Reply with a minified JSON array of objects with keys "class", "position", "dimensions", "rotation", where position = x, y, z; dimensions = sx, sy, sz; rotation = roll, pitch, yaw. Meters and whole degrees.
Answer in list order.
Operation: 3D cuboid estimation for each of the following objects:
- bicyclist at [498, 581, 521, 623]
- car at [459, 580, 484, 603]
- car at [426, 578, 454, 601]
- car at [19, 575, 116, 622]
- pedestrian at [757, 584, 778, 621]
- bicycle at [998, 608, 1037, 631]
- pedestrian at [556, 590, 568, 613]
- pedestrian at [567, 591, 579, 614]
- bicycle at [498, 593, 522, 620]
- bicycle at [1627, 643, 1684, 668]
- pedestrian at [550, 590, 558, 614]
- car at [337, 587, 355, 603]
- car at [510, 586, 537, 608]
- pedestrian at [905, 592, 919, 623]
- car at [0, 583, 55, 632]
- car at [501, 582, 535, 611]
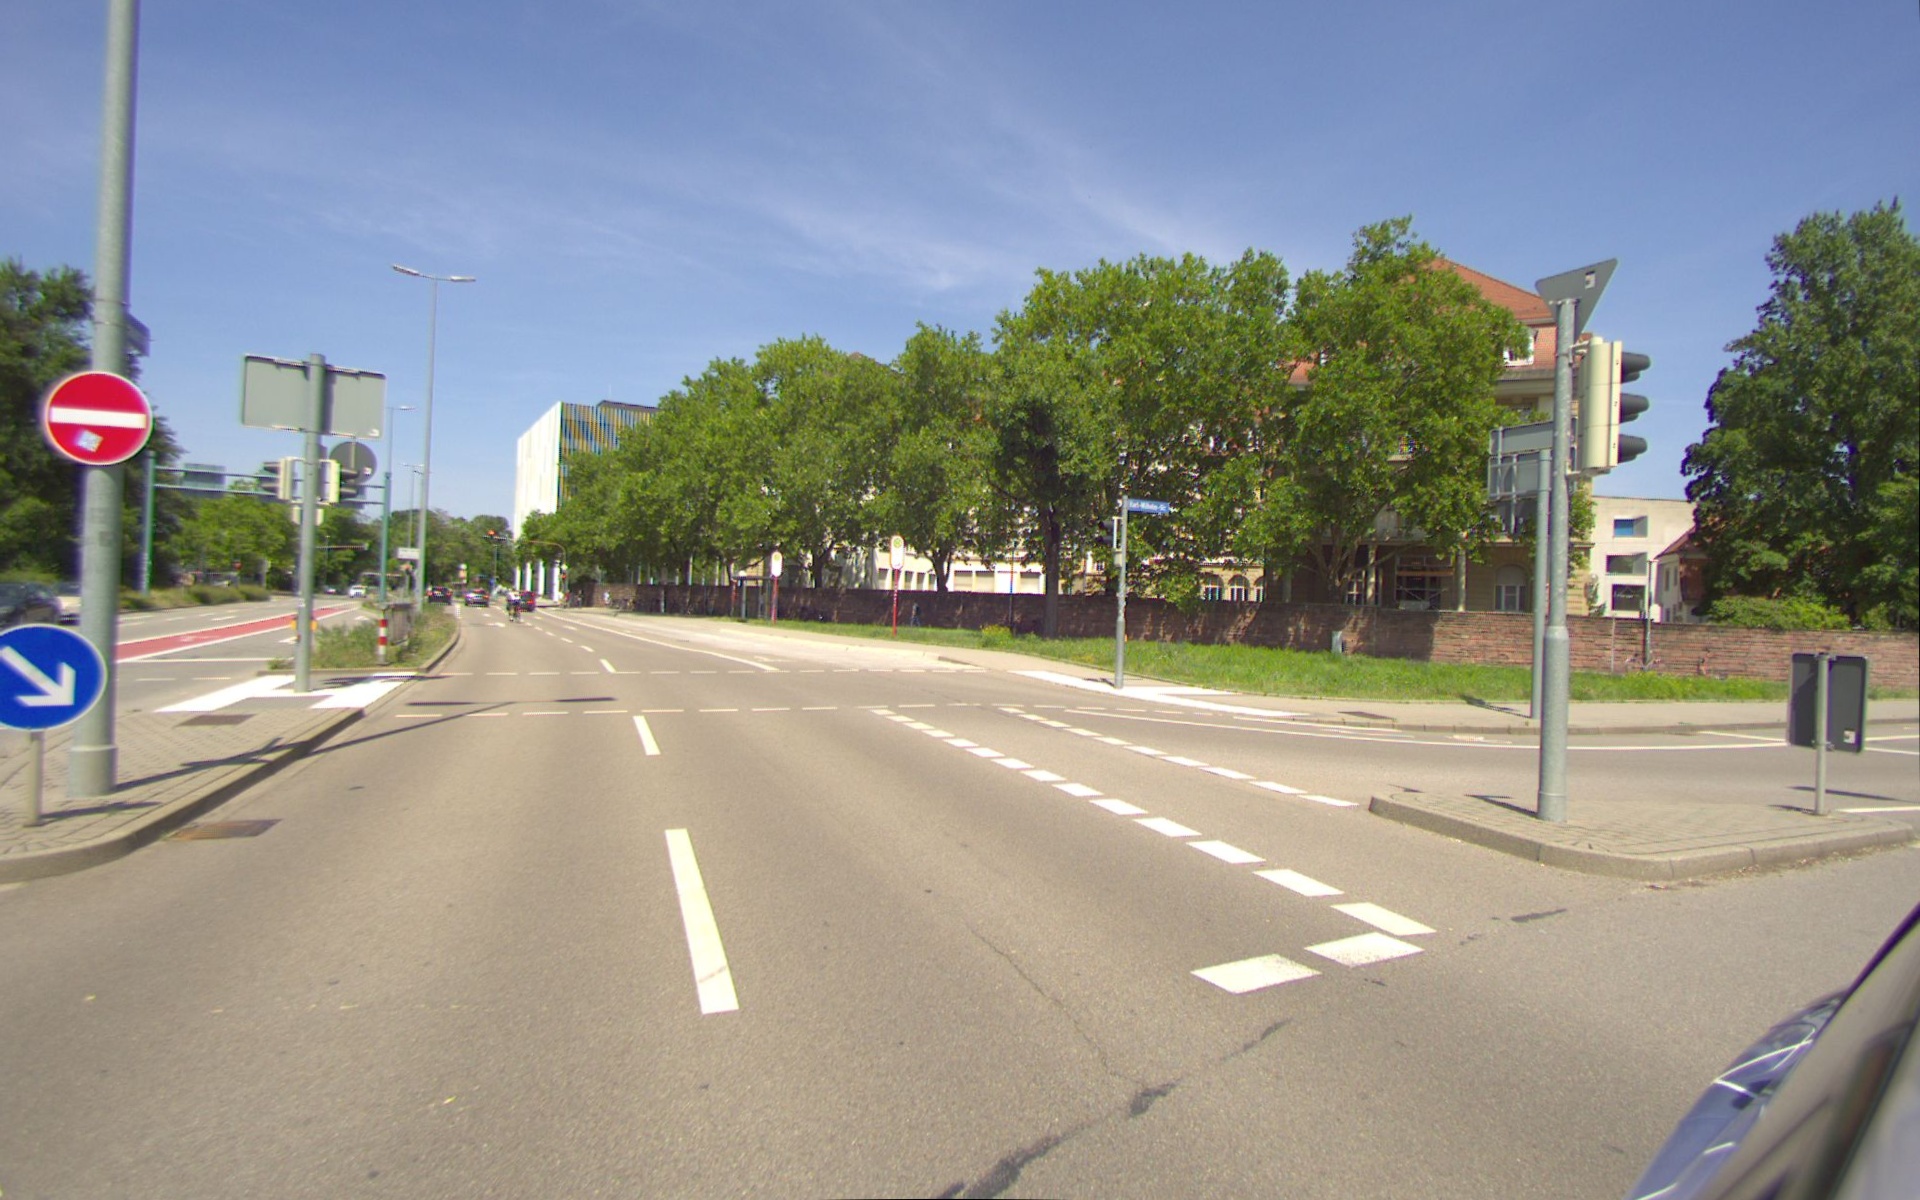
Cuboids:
[{"class":"bicyclist","position":[-20.994,0.109,47.154],"dimensions":[0.696,1.911,1.137],"rotation":[3,-3,-38]},{"class":"car","position":[-40.358,-0.680,83.540],"dimensions":[1.745,1.706,4.005],"rotation":[2,-2,-27]},{"class":"car","position":[-42.372,-0.823,82.416],"dimensions":[1.743,1.690,4.002],"rotation":[2,-2,-31]},{"class":"car","position":[-30.613,-0.014,34.832],"dimensions":[1.724,1.457,4.003],"rotation":[2,-2,-30]},{"class":"pedestrian","position":[-12.507,0.171,65.858],"dimensions":[0.835,2.321,1.072],"rotation":[3,-3,-43]},{"class":"bicycle","position":[3.082,1.038,54.135],"dimensions":[2.153,1.197,0.452],"rotation":[0,-3,33]},{"class":"pedestrian","position":[-35.109,0.149,89.258],"dimensions":[0.773,2.040,0.965],"rotation":[2,-3,-29]},{"class":"pedestrian","position":[-34.365,0.229,89.906],"dimensions":[0.773,2.040,0.841],"rotation":[2,-3,-29]},{"class":"bicycle","position":[-20.998,0.313,47.185],"dimensions":[0.511,1.253,2.190],"rotation":[3,-3,-37]},{"class":"bicycle","position":[27.856,2.205,40.558],"dimensions":[1.749,0.940,0.676],"rotation":[1,-2,15]},{"class":"pedestrian","position":[-35.548,0.159,88.591],"dimensions":[0.538,2.040,0.537],"rotation":[2,-3,-29]},{"class":"car","position":[-74.350,-0.588,122.593],"dimensions":[1.701,1.708,3.919],"rotation":[2,-2,-29]},{"class":"car","position":[-36.033,-0.218,83.435],"dimensions":[1.745,1.706,4.005],"rotation":[2,-2,-27]},{"class":"pedestrian","position":[-2.727,0.409,57.424],"dimensions":[0.523,1.744,0.581],"rotation":[-1,-3,36]},{"class":"car","position":[-27.608,0.223,28.979],"dimensions":[1.724,1.327,4.003],"rotation":[2,-2,-30]},{"class":"car","position":[-33.847,-0.229,77.486],"dimensions":[1.959,2.040,4.218],"rotation":[2,-2,-29]}]
